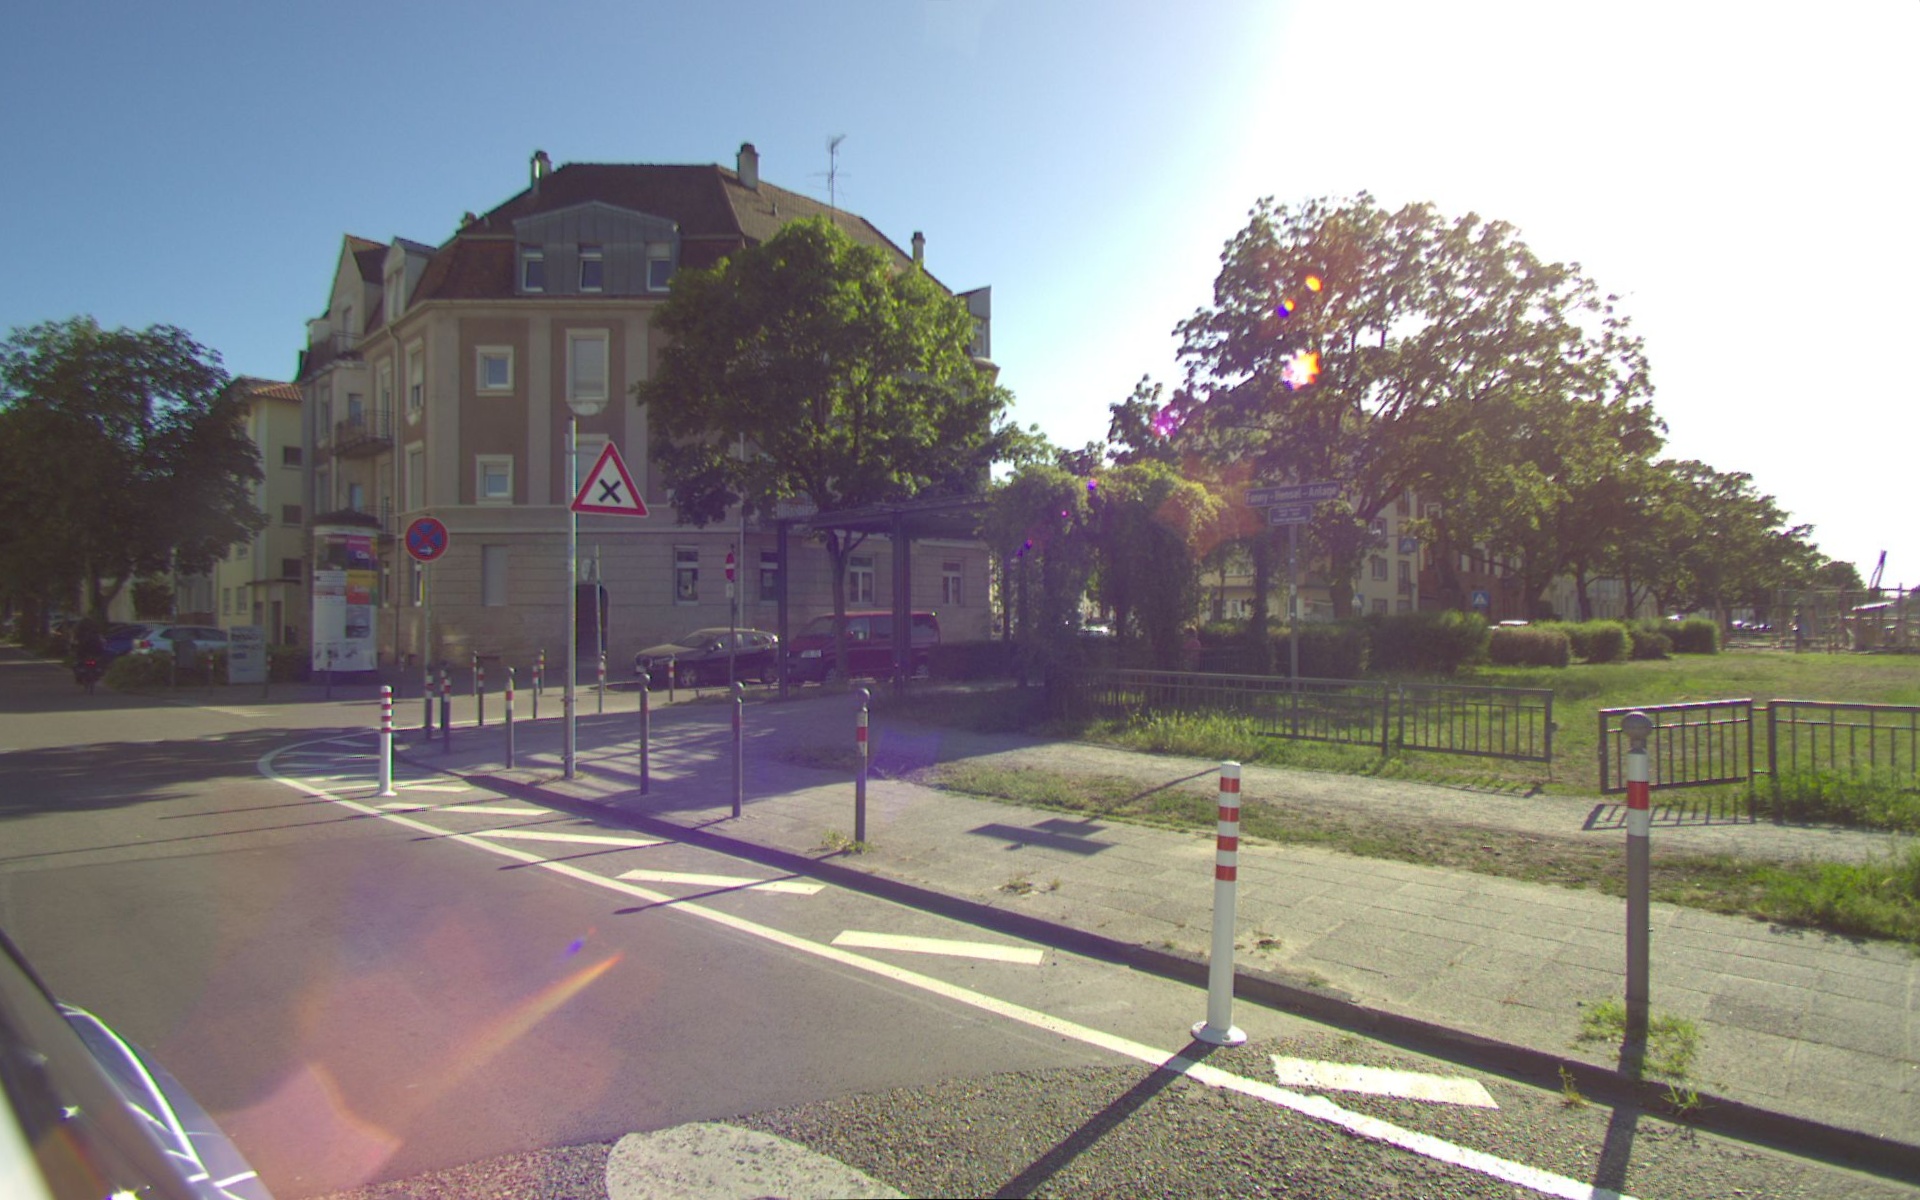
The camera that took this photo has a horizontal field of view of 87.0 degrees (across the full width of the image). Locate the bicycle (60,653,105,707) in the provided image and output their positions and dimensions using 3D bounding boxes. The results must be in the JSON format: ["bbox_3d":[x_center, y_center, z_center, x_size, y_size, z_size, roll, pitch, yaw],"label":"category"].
[{"bbox_3d":[-19.900,1.791,22.939,0.635,1.117,2.066,2,-2,-44],"label":"bicycle"}]

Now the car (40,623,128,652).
[{"bbox_3d":[-48.580,2.064,56.142,1.690,1.506,3.484,-2,-1,39],"label":"car"}]

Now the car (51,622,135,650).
[{"bbox_3d":[-50.168,2.061,58.588,1.690,1.506,3.484,-2,-1,39],"label":"car"}]

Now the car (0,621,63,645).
[{"bbox_3d":[-71.946,2.529,78.442,1.692,1.716,3.481,-2,-1,42],"label":"car"}]

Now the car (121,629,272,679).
[{"bbox_3d":[-25.147,1.743,33.410,1.691,1.455,3.739,-2,-1,41],"label":"car"}]

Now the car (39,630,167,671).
[{"bbox_3d":[-35.618,2.064,42.147,1.686,1.506,3.751,-1,-1,31],"label":"car"}]

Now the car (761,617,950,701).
[{"bbox_3d":[-2.646,1.460,26.593,1.898,1.975,4.815,0,-1,44],"label":"car"}]

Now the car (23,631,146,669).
[{"bbox_3d":[-37.927,2.129,43.927,1.686,1.506,3.751,-1,-1,31],"label":"car"}]

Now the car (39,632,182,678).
[{"bbox_3d":[-31.437,2.003,37.547,1.686,1.506,3.751,-1,-1,31],"label":"car"}]

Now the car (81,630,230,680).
[{"bbox_3d":[-27.256,1.816,34.363,1.691,1.506,3.739,-2,-1,41],"label":"car"}]

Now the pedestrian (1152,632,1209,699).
[{"bbox_3d":[3.921,1.146,17.976,0.862,1.147,0.599,2,-3,-45],"label":"pedestrian"}]

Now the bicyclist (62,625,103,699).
[{"bbox_3d":[-19.833,1.379,22.880,0.635,1.632,0.637,2,-2,-45],"label":"bicyclist"}]

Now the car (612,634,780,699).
[{"bbox_3d":[-6.957,1.701,26.941,1.867,1.494,3.960,2,0,41],"label":"car"}]

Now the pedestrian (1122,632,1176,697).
[{"bbox_3d":[3.452,1.163,18.471,0.833,1.158,0.599,2,-3,-45],"label":"pedestrian"}]

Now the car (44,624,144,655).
[{"bbox_3d":[-45.358,2.038,53.061,1.690,1.506,3.741,-2,-1,39],"label":"car"}]
